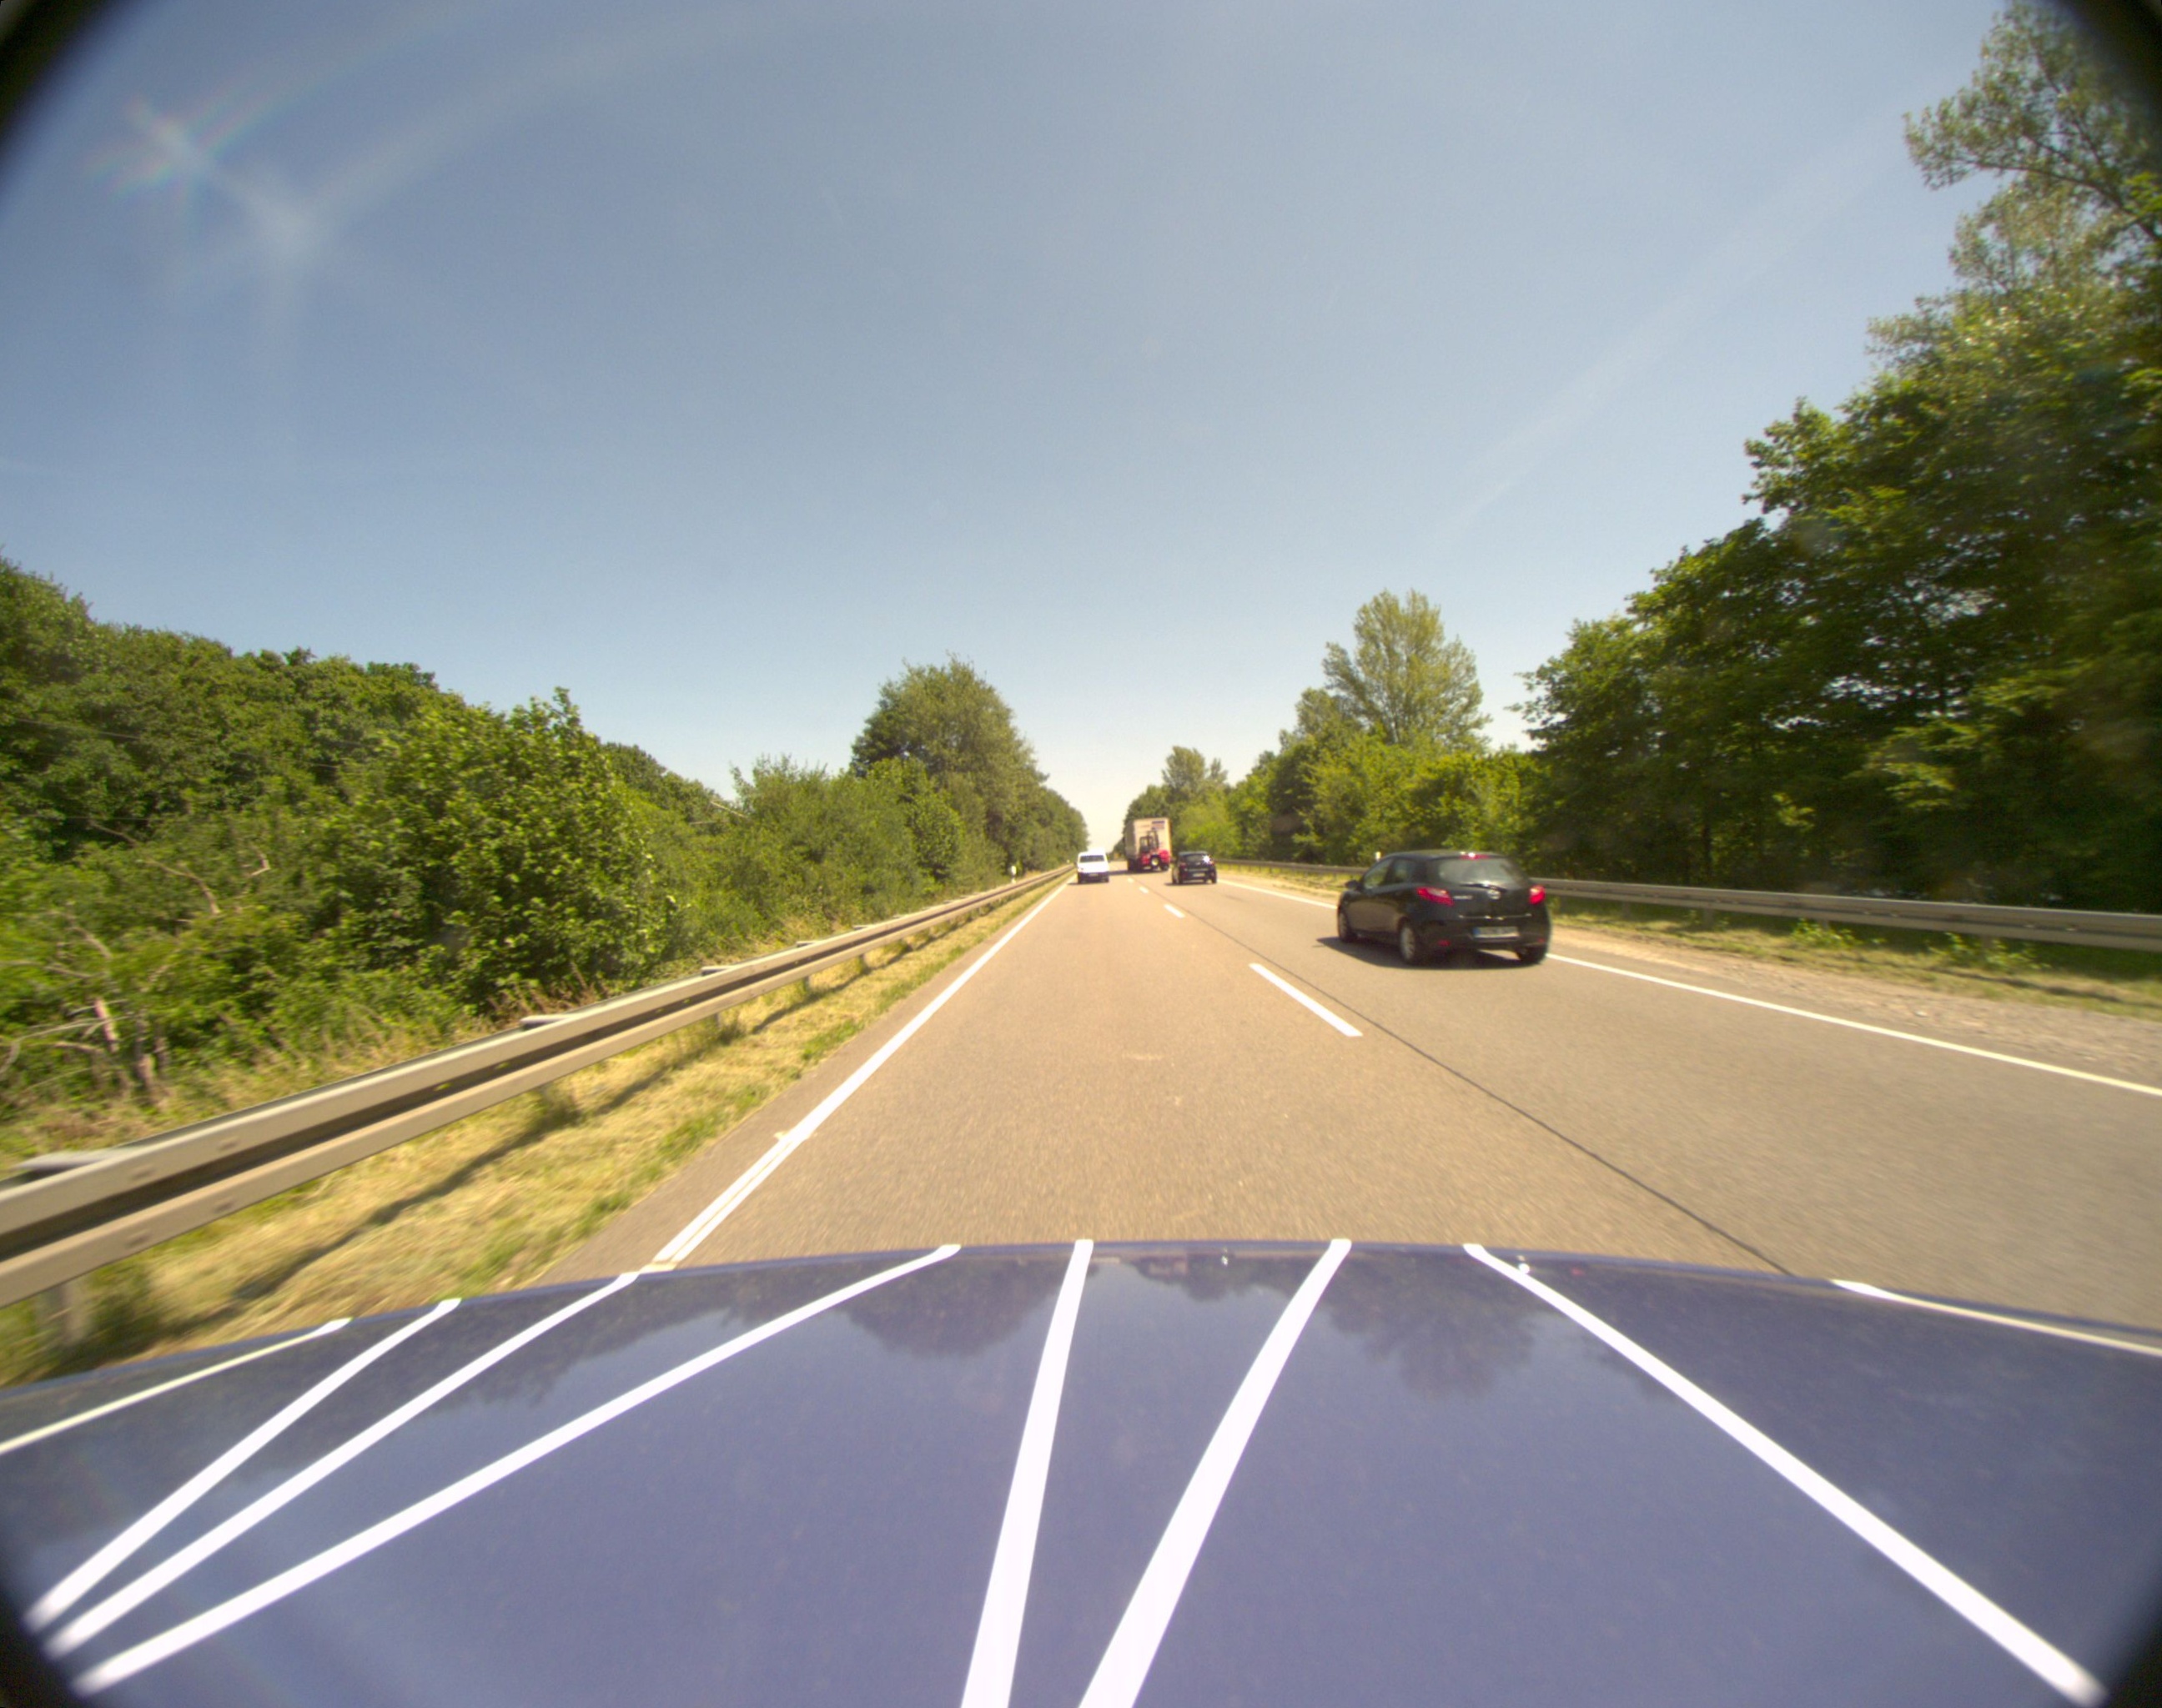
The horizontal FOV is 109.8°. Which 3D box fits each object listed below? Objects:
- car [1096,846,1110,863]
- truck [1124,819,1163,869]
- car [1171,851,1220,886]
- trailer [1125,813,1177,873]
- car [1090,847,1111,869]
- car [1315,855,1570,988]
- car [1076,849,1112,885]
[{"bbox_3d":[3.247,0.142,110.236,1.782,2.286,4.107,-5,-1,2],"label":"car"},{"bbox_3d":[5.469,-0.871,67.126,2.770,3.976,5.907,-5,0,1],"label":"truck"},{"bbox_3d":[5.184,0.620,34.870,1.638,1.429,4.179,-2,1,1],"label":"car"},{"bbox_3d":[5.292,-0.828,59.948,2.770,3.976,13.686,-5,0,1],"label":"trailer"},{"bbox_3d":[1.932,0.367,74.692,1.782,1.960,4.107,-5,-1,2],"label":"car"},{"bbox_3d":[4.785,0.775,10.804,1.638,1.429,4.233,-2,1,1],"label":"car"},{"bbox_3d":[0.755,0.699,41.770,1.782,1.743,4.513,-3,-1,2],"label":"car"}]
